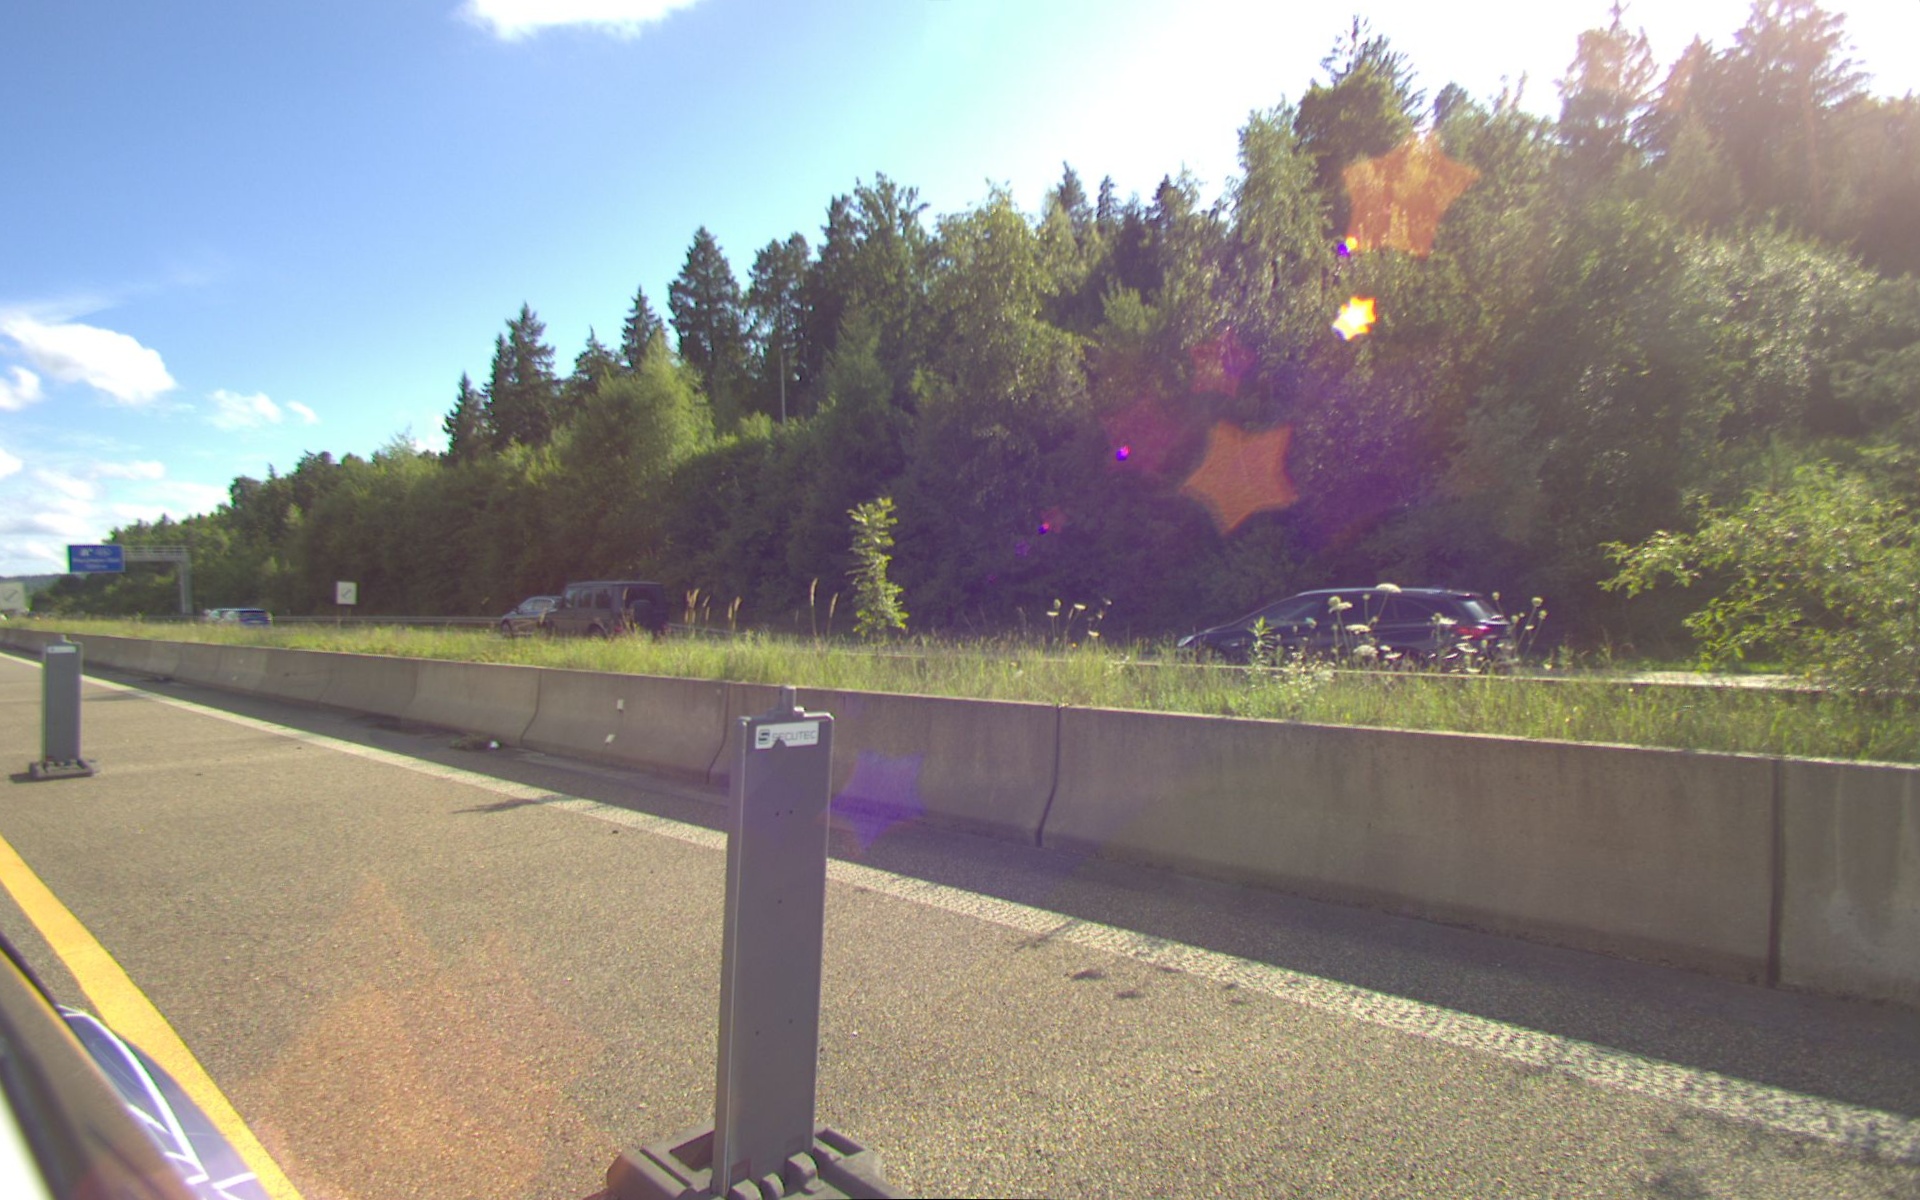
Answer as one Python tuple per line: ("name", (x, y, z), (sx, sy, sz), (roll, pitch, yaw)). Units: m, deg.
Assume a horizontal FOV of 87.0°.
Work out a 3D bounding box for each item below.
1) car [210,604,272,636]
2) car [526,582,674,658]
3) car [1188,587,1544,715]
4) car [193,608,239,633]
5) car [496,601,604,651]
("car", (-38.532, 1.033, 54.223), (4.309, 1.614, 1.759), (-1, 0, 41))
("car", (-9.865, 0.515, 27.539), (4.615, 1.917, 1.759), (-1, 0, 41))
("car", (5.348, 0.587, 13.628), (4.102, 1.467, 1.759), (-1, 0, 41))
("car", (-51.788, 1.414, 70.417), (4.016, 1.614, 1.759), (-1, 0, 41))
("car", (-14.954, 0.907, 36.803), (4.615, 1.701, 1.759), (-1, 0, 41))
